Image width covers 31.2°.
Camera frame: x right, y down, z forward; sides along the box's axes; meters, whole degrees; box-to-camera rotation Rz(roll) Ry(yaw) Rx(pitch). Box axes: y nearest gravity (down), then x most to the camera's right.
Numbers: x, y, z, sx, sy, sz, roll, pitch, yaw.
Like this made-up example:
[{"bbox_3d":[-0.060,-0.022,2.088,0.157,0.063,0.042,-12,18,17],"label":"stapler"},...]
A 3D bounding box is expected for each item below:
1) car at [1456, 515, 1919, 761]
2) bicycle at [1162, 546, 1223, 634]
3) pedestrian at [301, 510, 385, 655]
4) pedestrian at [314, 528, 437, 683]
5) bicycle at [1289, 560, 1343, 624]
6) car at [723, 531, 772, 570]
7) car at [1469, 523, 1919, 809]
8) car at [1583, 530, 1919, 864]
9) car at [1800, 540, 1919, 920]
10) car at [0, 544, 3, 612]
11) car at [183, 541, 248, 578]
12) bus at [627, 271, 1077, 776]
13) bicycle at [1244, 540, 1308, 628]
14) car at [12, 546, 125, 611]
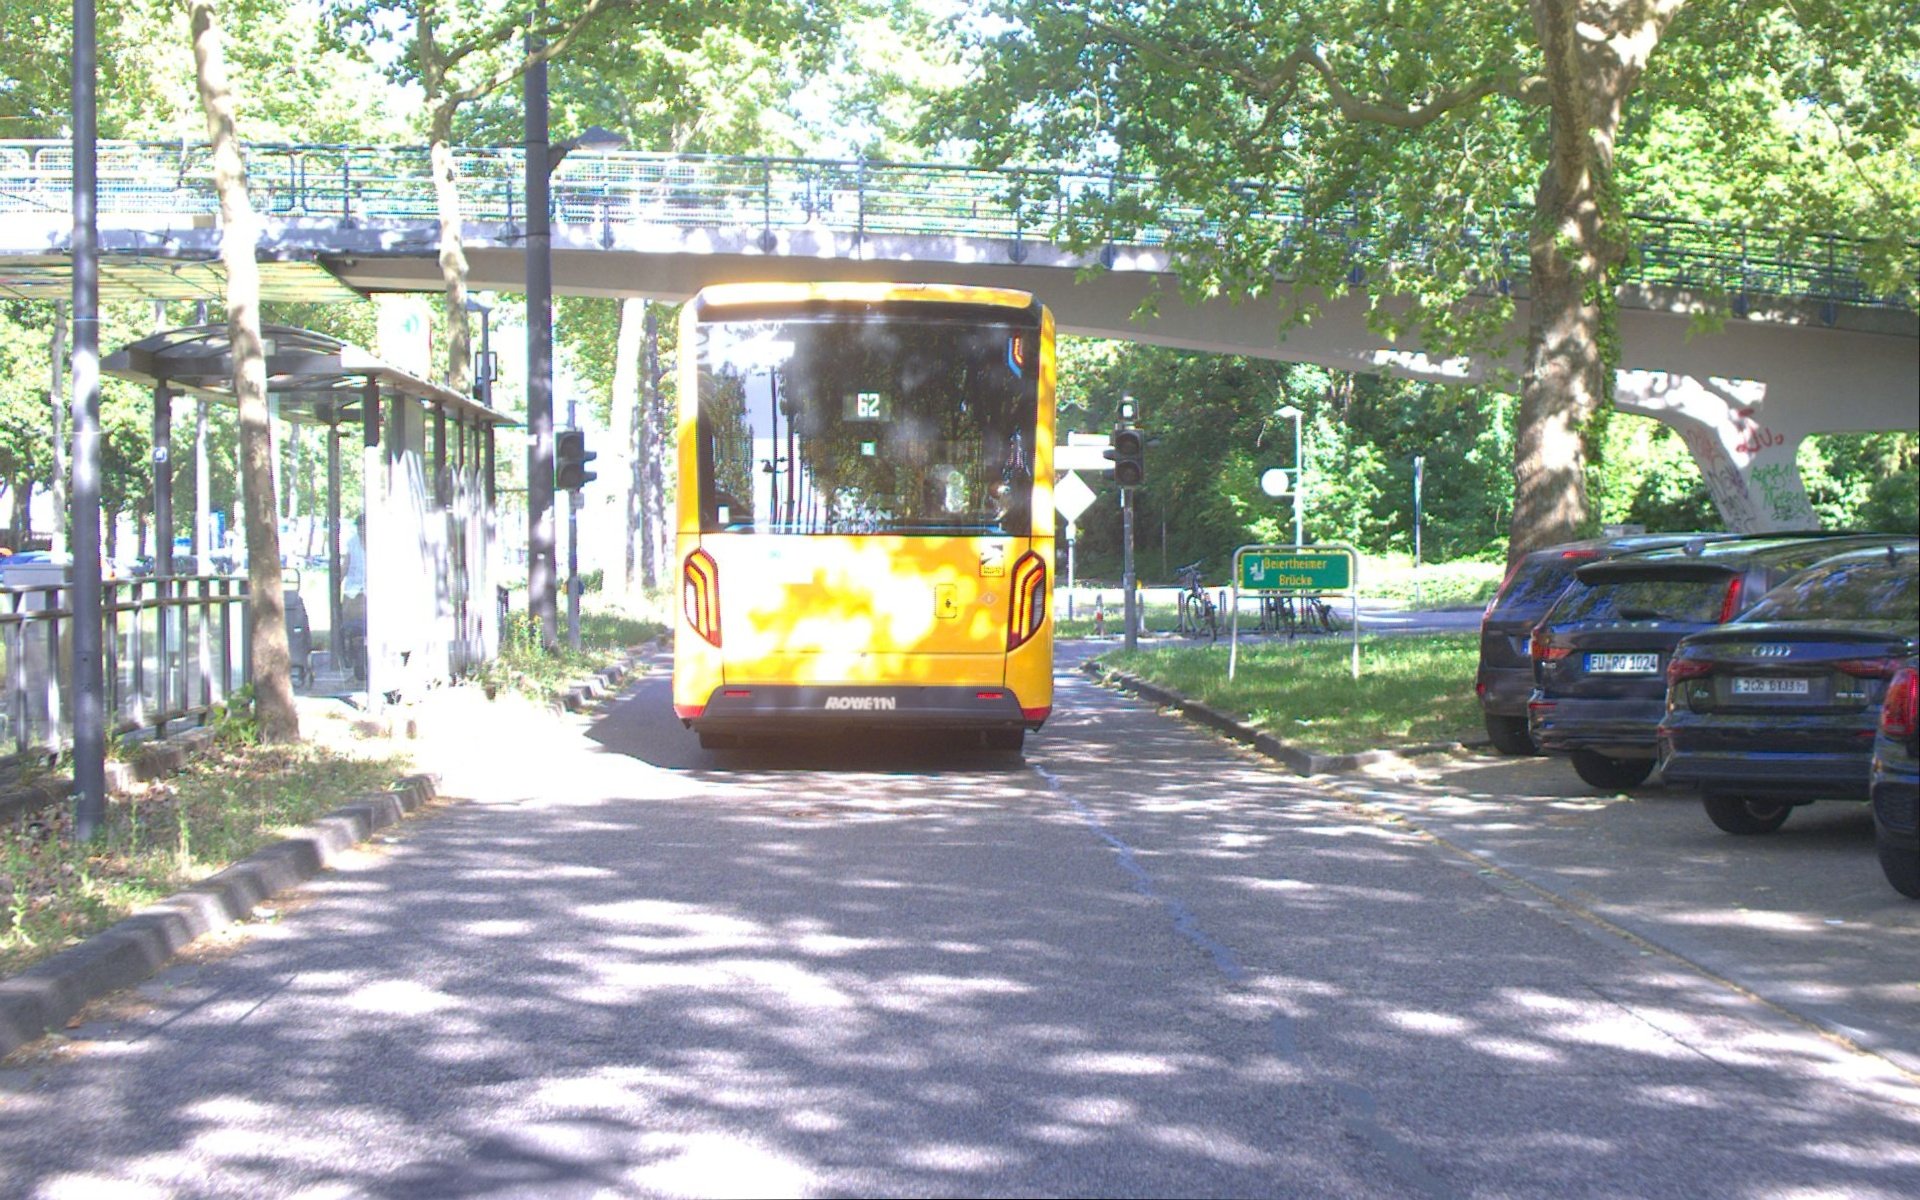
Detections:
[{"bbox_3d":[5.383,0.216,23.860,1.799,1.456,3.990,-2,1,44],"label":"car"},{"bbox_3d":[3.329,-0.161,49.332,0.590,1.178,1.800,-4,2,-3],"label":"bicycle"},{"bbox_3d":[-6.085,-0.176,33.931,0.724,1.412,0.682,0,1,-2],"label":"pedestrian"},{"bbox_3d":[-4.770,0.033,28.103,0.855,1.239,0.850,1,1,0],"label":"pedestrian"},{"bbox_3d":[5.109,-0.118,49.424,0.505,0.849,1.474,-4,2,-3],"label":"bicycle"},{"bbox_3d":[-9.616,-2.262,155.901,1.986,1.637,4.134,2,2,-1],"label":"car"},{"bbox_3d":[5.166,0.315,20.737,4.245,1.456,1.799,-4,1,-42],"label":"car"},{"bbox_3d":[5.246,0.370,17.510,4.245,1.456,1.799,-4,1,-42],"label":"car"},{"bbox_3d":[5.417,0.409,14.447,3.990,1.463,1.781,-4,2,-45],"label":"car"},{"bbox_3d":[-22.950,-0.460,77.228,1.794,1.575,4.288,-1,1,-2],"label":"car"},{"bbox_3d":[-31.155,-1.723,143.929,1.794,1.505,4.000,-1,1,1],"label":"car"},{"bbox_3d":[-1.006,-0.602,28.435,2.899,3.255,12.219,-1,1,-3],"label":"bus"},{"bbox_3d":[4.521,-0.238,49.283,0.590,1.178,1.800,-4,2,-3],"label":"bicycle"},{"bbox_3d":[-21.463,-0.545,82.906,1.794,1.505,4.676,-1,1,-4],"label":"car"}]
